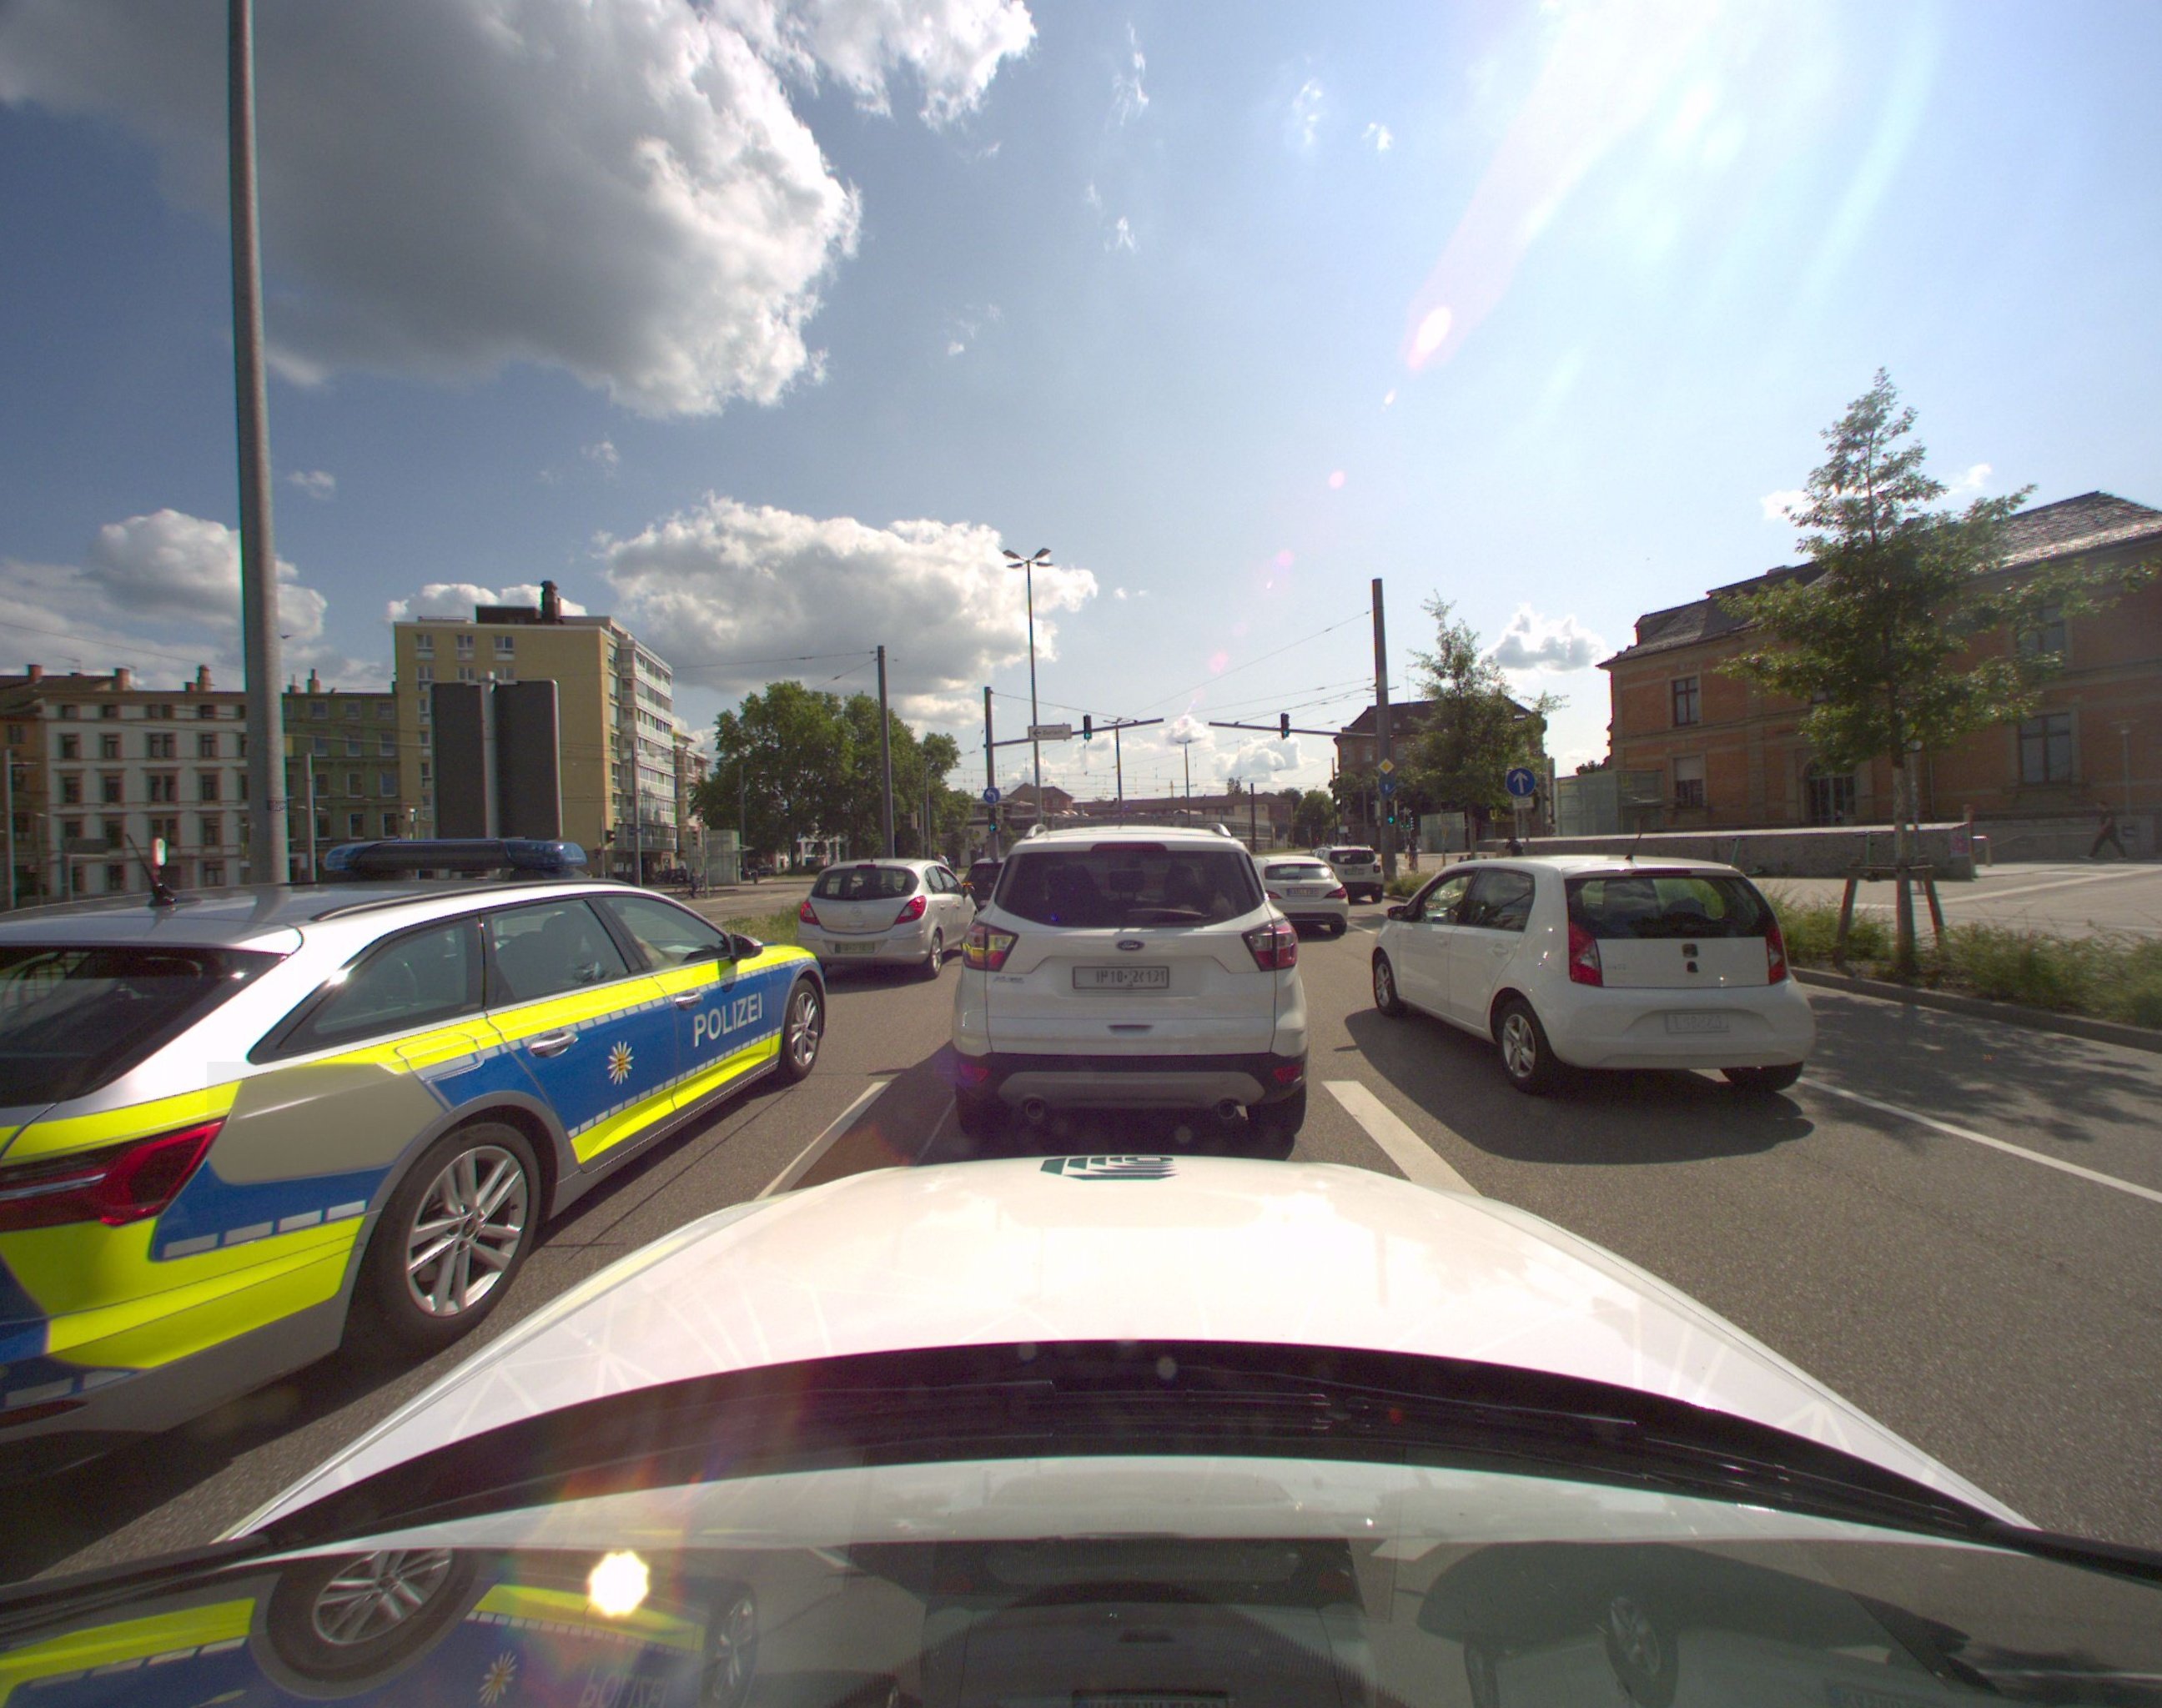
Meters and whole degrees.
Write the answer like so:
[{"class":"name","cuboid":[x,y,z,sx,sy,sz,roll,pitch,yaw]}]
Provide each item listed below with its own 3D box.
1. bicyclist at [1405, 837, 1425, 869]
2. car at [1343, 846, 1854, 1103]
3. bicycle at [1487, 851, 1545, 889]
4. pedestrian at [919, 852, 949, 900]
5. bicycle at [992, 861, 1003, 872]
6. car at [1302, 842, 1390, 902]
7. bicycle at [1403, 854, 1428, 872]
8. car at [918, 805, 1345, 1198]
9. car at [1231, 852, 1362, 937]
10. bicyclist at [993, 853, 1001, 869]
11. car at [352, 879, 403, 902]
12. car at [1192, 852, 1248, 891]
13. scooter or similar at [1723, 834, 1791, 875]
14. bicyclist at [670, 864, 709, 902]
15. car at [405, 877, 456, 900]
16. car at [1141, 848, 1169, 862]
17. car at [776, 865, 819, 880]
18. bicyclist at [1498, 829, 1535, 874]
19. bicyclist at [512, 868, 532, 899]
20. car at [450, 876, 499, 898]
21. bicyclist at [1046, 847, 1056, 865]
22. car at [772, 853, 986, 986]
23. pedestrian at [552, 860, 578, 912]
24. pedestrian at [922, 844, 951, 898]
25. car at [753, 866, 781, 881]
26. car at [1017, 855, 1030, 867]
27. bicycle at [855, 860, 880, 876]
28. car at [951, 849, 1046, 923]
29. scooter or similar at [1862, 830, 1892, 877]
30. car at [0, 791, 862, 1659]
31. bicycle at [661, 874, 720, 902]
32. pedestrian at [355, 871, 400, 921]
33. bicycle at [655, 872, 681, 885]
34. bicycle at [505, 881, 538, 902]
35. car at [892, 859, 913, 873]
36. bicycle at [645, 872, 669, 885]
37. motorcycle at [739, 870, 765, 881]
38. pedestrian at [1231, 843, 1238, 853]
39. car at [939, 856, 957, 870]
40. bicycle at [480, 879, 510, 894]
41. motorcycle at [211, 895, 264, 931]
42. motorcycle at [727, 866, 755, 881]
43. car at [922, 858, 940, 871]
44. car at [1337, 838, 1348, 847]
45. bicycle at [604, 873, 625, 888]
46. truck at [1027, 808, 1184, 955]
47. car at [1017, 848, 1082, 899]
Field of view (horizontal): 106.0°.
[{"class":"bicyclist","cuboid":[15.641,-0.042,38.168,0.606,1.451,0.775,-2,0,2]},{"class":"car","cuboid":[3.531,0.666,6.548,1.643,1.422,4.001,-1,0,1]},{"class":"bicycle","cuboid":[12.627,0.448,23.693,0.842,0.970,1.966,-5,0,10]},{"class":"pedestrian","cuboid":[-5.274,0.788,29.218,0.844,1.648,0.693,-3,-1,1]},{"class":"bicycle","cuboid":[-9.060,1.337,88.022,0.640,1.125,1.770,-2,0,-24]},{"class":"car","cuboid":[7.918,0.519,24.652,1.826,1.652,4.009,-1,-1,8]},{"class":"bicycle","cuboid":[15.673,0.405,38.206,0.582,0.775,1.623,-2,0,4]},{"class":"car","cuboid":[0.392,0.643,5.496,1.818,1.664,3.961,-1,0,5]},{"class":"car","cuboid":[4.005,0.698,15.709,1.841,1.419,3.684,-1,0,5]},{"class":"bicyclist","cuboid":[-9.039,0.759,87.920,0.641,1.738,0.656,-2,0,-25]},{"class":"car","cuboid":[-51.469,2.671,59.558,3.849,1.496,1.912,-3,-2,35]},{"class":"car","cuboid":[5.317,0.646,31.604,1.841,1.419,3.684,-1,0,5]},{"class":"scooter or similar","cuboid":[19.396,0.013,23.398,0.466,1.118,1.438,-3,0,-18]},{"class":"bicyclist","cuboid":[-18.791,1.377,39.084,1.293,1.731,0.994,-3,-1,-1]},{"class":"car","cuboid":[-48.049,2.534,60.113,3.849,1.496,1.912,-3,-2,35]},{"class":"car","cuboid":[8.543,0.061,93.676,1.882,1.461,3.991,-3,0,24]},{"class":"car","cuboid":[-30.436,2.003,87.495,3.975,1.327,1.633,-3,-1,-1]},{"class":"bicyclist","cuboid":[12.589,-0.080,23.549,0.631,1.220,0.926,-4,0,10]},{"class":"bicyclist","cuboid":[-32.426,1.700,47.269,0.779,1.797,0.706,0,-1,-17]},{"class":"car","cuboid":[-45.961,2.481,61.677,3.849,1.496,1.912,-3,-2,36]},{"class":"bicyclist","cuboid":[-2.957,0.179,80.518,0.753,1.683,0.764,-3,0,16]},{"class":"car","cuboid":[-2.580,0.763,11.454,1.841,1.474,4.002,-2,0,2]},{"class":"pedestrian","cuboid":[-19.099,1.164,30.149,0.770,1.903,0.819,0,-1,-30]},{"class":"pedestrian","cuboid":[-5.341,0.622,30.074,0.844,1.917,0.693,-3,-1,1]},{"class":"car","cuboid":[-32.478,2.036,84.400,1.905,1.413,3.986,-3,-1,-10]},{"class":"car","cuboid":[-8.619,1.076,122.405,1.814,1.534,3.913,-4,-1,-2]},{"class":"bicycle","cuboid":[-19.790,1.317,75.577,2.171,1.414,0.808,-1,0,-14]},{"class":"car","cuboid":[-1.905,0.699,20.045,1.756,1.568,4.528,-1,0,1]},{"class":"scooter or similar","cuboid":[19.693,-0.018,20.143,1.326,1.104,0.460,-4,0,-44]},{"class":"car","cuboid":[-2.674,0.701,3.798,1.873,1.568,4.617,-2,0,2]},{"class":"bicycle","cuboid":[-18.729,1.624,39.072,2.286,1.188,0.994,-3,-1,-1]},{"class":"pedestrian","cuboid":[-26.234,1.545,30.367,0.762,1.797,1.028,0,-1,0]},{"class":"bicycle","cuboid":[-38.039,2.238,75.009,1.948,1.147,0.792,-2,0,-17]},{"class":"bicycle","cuboid":[-32.407,2.154,47.228,0.889,1.138,2.344,0,-1,-17]},{"class":"car","cuboid":[-27.524,1.855,125.909,1.960,1.937,5.070,-4,-1,1]},{"class":"bicycle","cuboid":[-38.351,2.216,73.712,1.808,1.147,0.792,-2,0,-17]},{"class":"motorcycle","cuboid":[-31.405,2.009,77.768,0.801,0.917,2.057,-2,1,39]},{"class":"pedestrian","cuboid":[27.230,-1.090,144.514,0.866,1.737,0.882,-1,-1,37]},{"class":"car","cuboid":[-20.285,1.442,124.334,1.989,2.014,4.227,-4,-1,-2]},{"class":"bicycle","cuboid":[-49.375,2.738,68.645,1.808,1.104,0.792,-2,0,-18]},{"class":"motorcycle","cuboid":[-30.646,2.132,29.596,1.436,1.236,0.484,-3,-1,3]},{"class":"motorcycle","cuboid":[-30.454,1.779,72.899,2.193,1.238,0.910,-2,1,19]},{"class":"car","cuboid":[-22.919,1.632,124.652,1.963,1.937,4.227,-4,-1,-2]},{"class":"car","cuboid":[54.000,-2.318,168.036,1.820,1.652,4.021,-2,-1,22]},{"class":"bicycle","cuboid":[-41.312,2.304,72.094,0.792,1.258,1.808,-2,0,-2]},{"class":"truck","cuboid":[0.655,0.424,15.324,2.327,2.155,5.861,-2,0,6]},{"class":"car","cuboid":[-1.001,0.642,28.324,2.033,1.578,4.538,-1,0,0]}]
